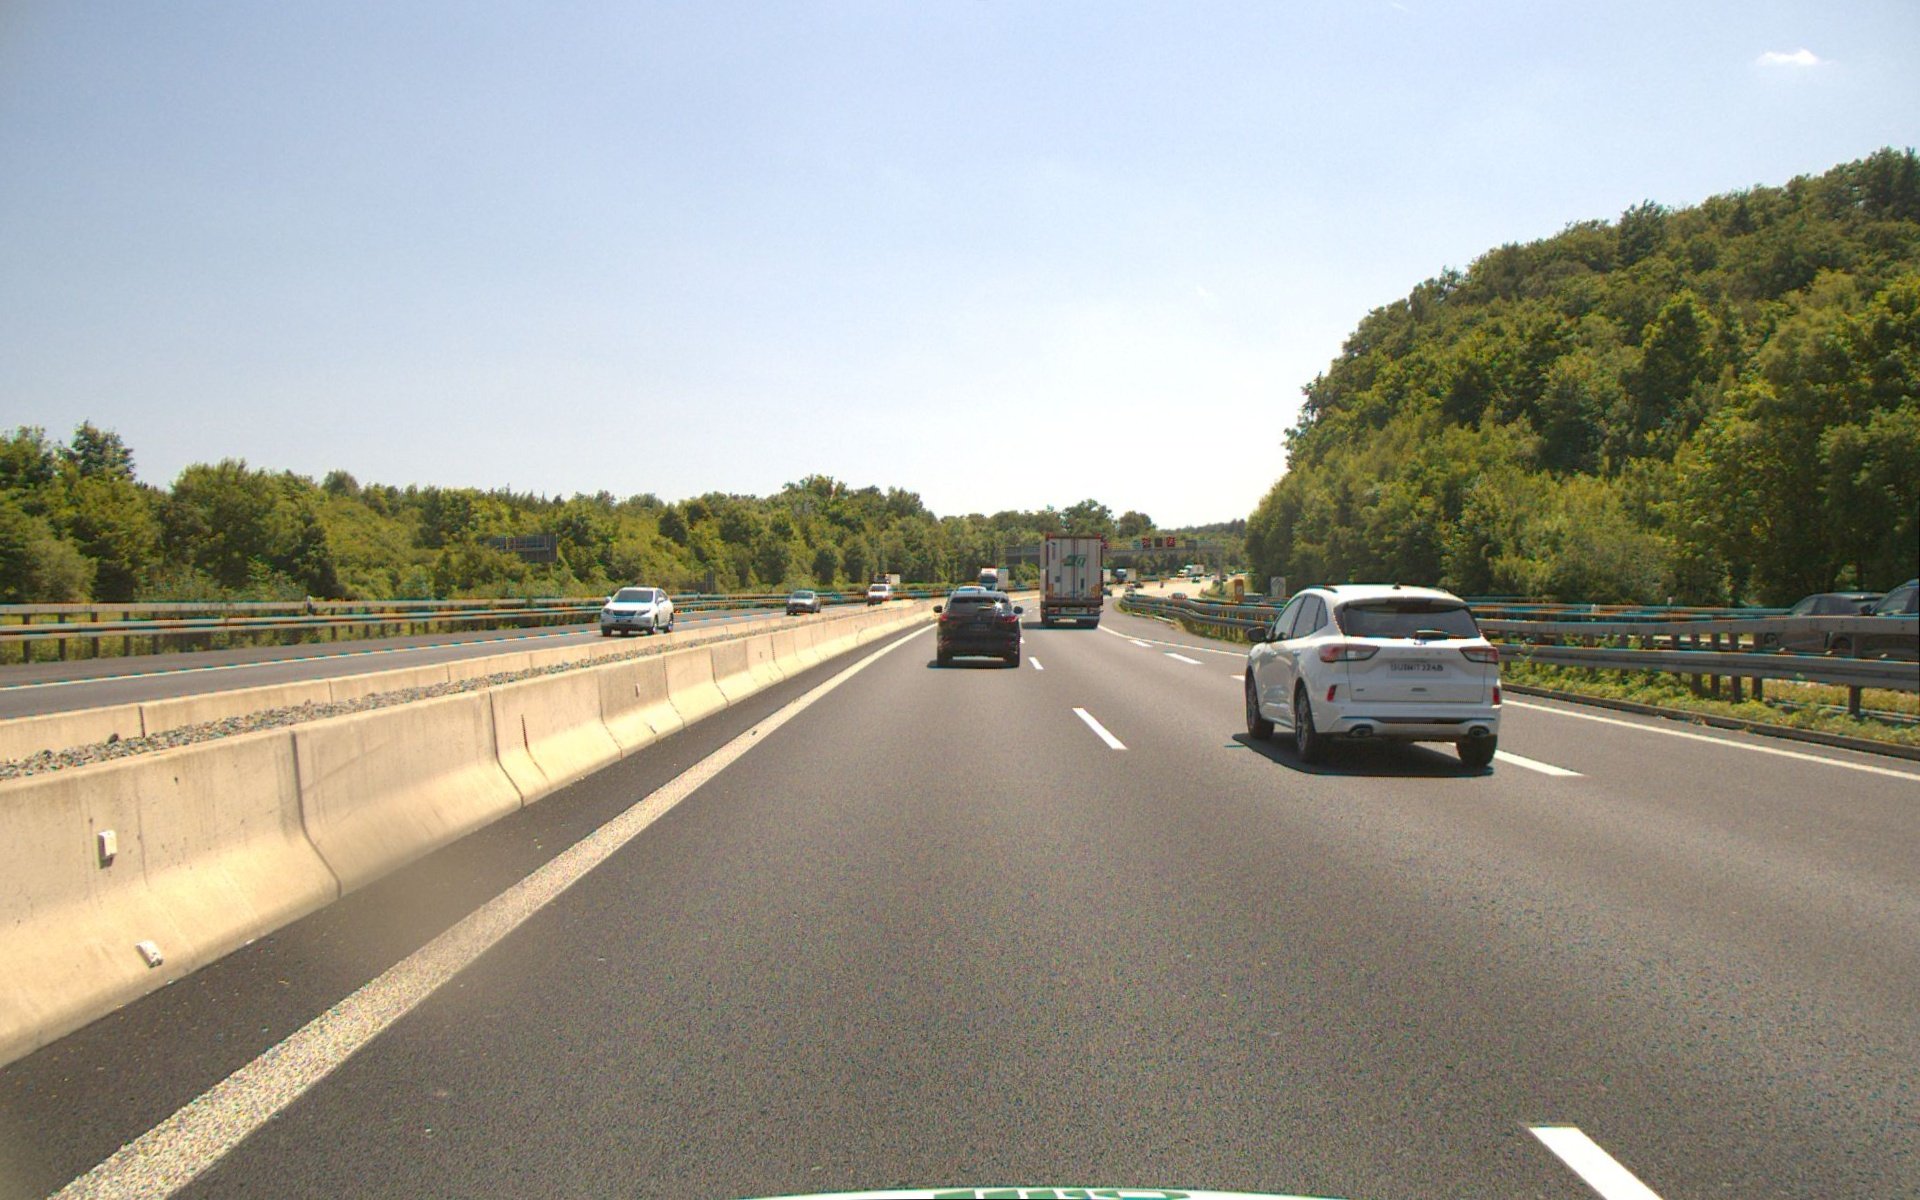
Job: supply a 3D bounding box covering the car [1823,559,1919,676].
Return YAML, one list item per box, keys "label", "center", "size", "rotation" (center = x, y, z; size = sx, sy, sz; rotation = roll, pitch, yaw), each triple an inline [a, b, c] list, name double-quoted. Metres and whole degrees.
- label: "car"
  center: [14.796, 0.249, 23.661]
  size: [1.953, 1.691, 5.626]
  rotation: [0, 0, 0]

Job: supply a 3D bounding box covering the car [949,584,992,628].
- label: "car"
  center: [0.562, 0.267, 82.861]
  size: [1.952, 2.048, 4.001]
  rotation: [-3, 0, 1]

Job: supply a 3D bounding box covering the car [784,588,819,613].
- label: "car"
  center: [-10.014, 0.029, 104.674]
  size: [1.692, 1.559, 4.261]
  rotation: [1, 0, 1]

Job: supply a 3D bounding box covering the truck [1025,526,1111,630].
- label: "truck"
  center: [4.909, -0.912, 77.673]
  size: [2.970, 4.496, 12.014]
  rotation: [0, 0, -1]

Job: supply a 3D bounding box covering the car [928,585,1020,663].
- label: "car"
  center: [0.258, 0.521, 36.416]
  size: [1.744, 1.605, 3.997]
  rotation: [1, -1, -3]

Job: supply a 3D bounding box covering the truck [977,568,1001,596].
- label: "truck"
  center: [4.374, -2.665, 248.630]
  size: [2.640, 4.029, 10.784]
  rotation: [0, 0, 6]

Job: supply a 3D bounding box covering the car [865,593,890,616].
- label: "car"
  center: [-7.333, 0.436, 147.844]
  size: [1.953, 2.049, 5.380]
  rotation: [0, 0, 0]

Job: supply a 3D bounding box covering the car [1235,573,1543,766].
- label: "car"
  center: [4.133, 0.627, 16.735]
  size: [1.953, 1.691, 4.467]
  rotation: [0, 0, 0]

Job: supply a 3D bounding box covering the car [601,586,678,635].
- label: "car"
  center: [-11.440, 0.348, 59.314]
  size: [1.751, 1.660, 4.930]
  rotation: [0, 0, 0]
